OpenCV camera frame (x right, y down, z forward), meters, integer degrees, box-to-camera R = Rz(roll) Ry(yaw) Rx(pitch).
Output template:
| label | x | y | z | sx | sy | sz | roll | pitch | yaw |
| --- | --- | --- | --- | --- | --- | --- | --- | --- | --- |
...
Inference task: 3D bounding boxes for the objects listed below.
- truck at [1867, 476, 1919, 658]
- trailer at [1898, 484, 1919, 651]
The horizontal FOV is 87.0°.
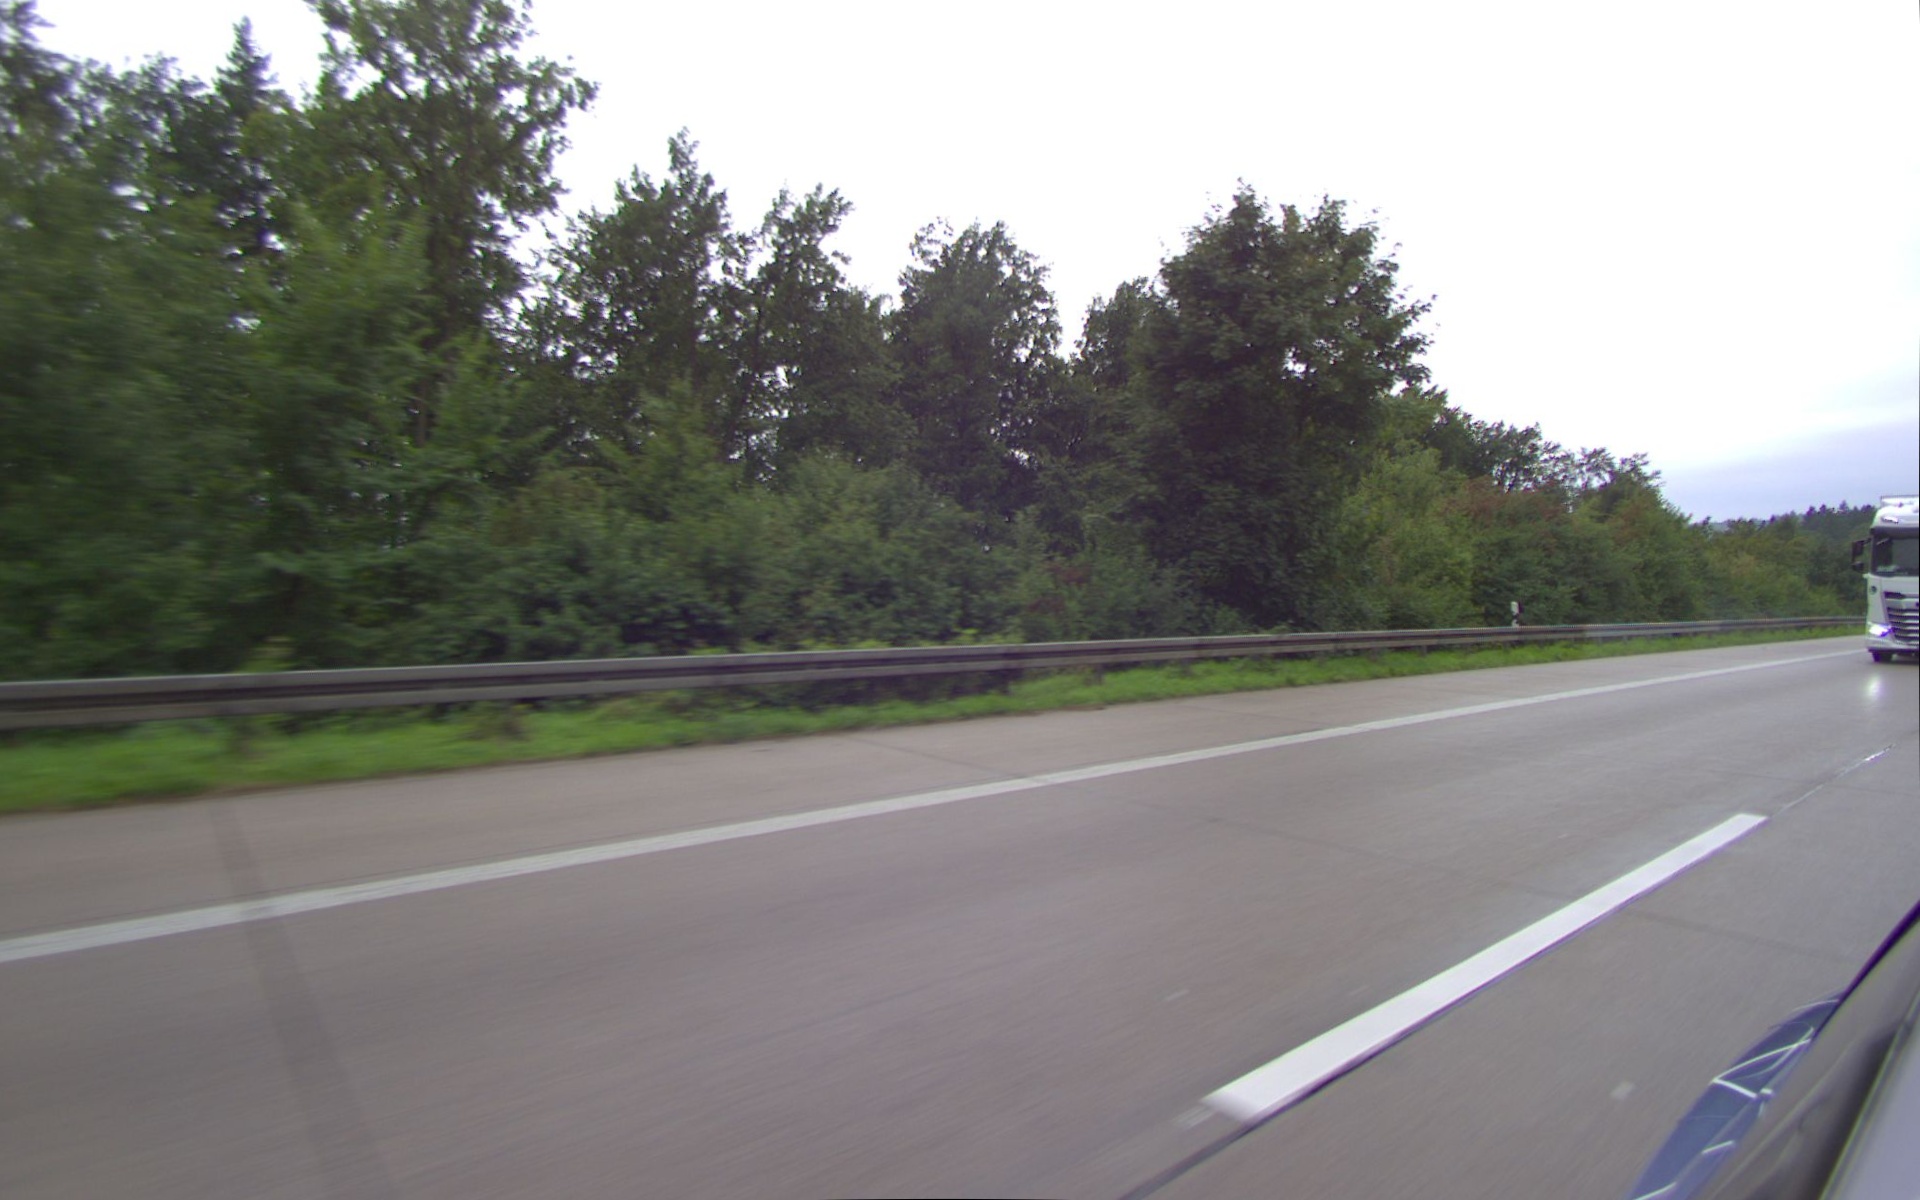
| label | x | y | z | sx | sy | sz | roll | pitch | yaw |
| --- | --- | --- | --- | --- | --- | --- | --- | --- | --- |
| truck | 24.016 | -0.750 | 24.096 | 5.648 | 4.092 | 2.728 | 0 | 0 | -39 |
| trailer | 29.461 | -0.820 | 28.391 | 13.456 | 4.092 | 2.686 | 0 | 1 | -39 |
